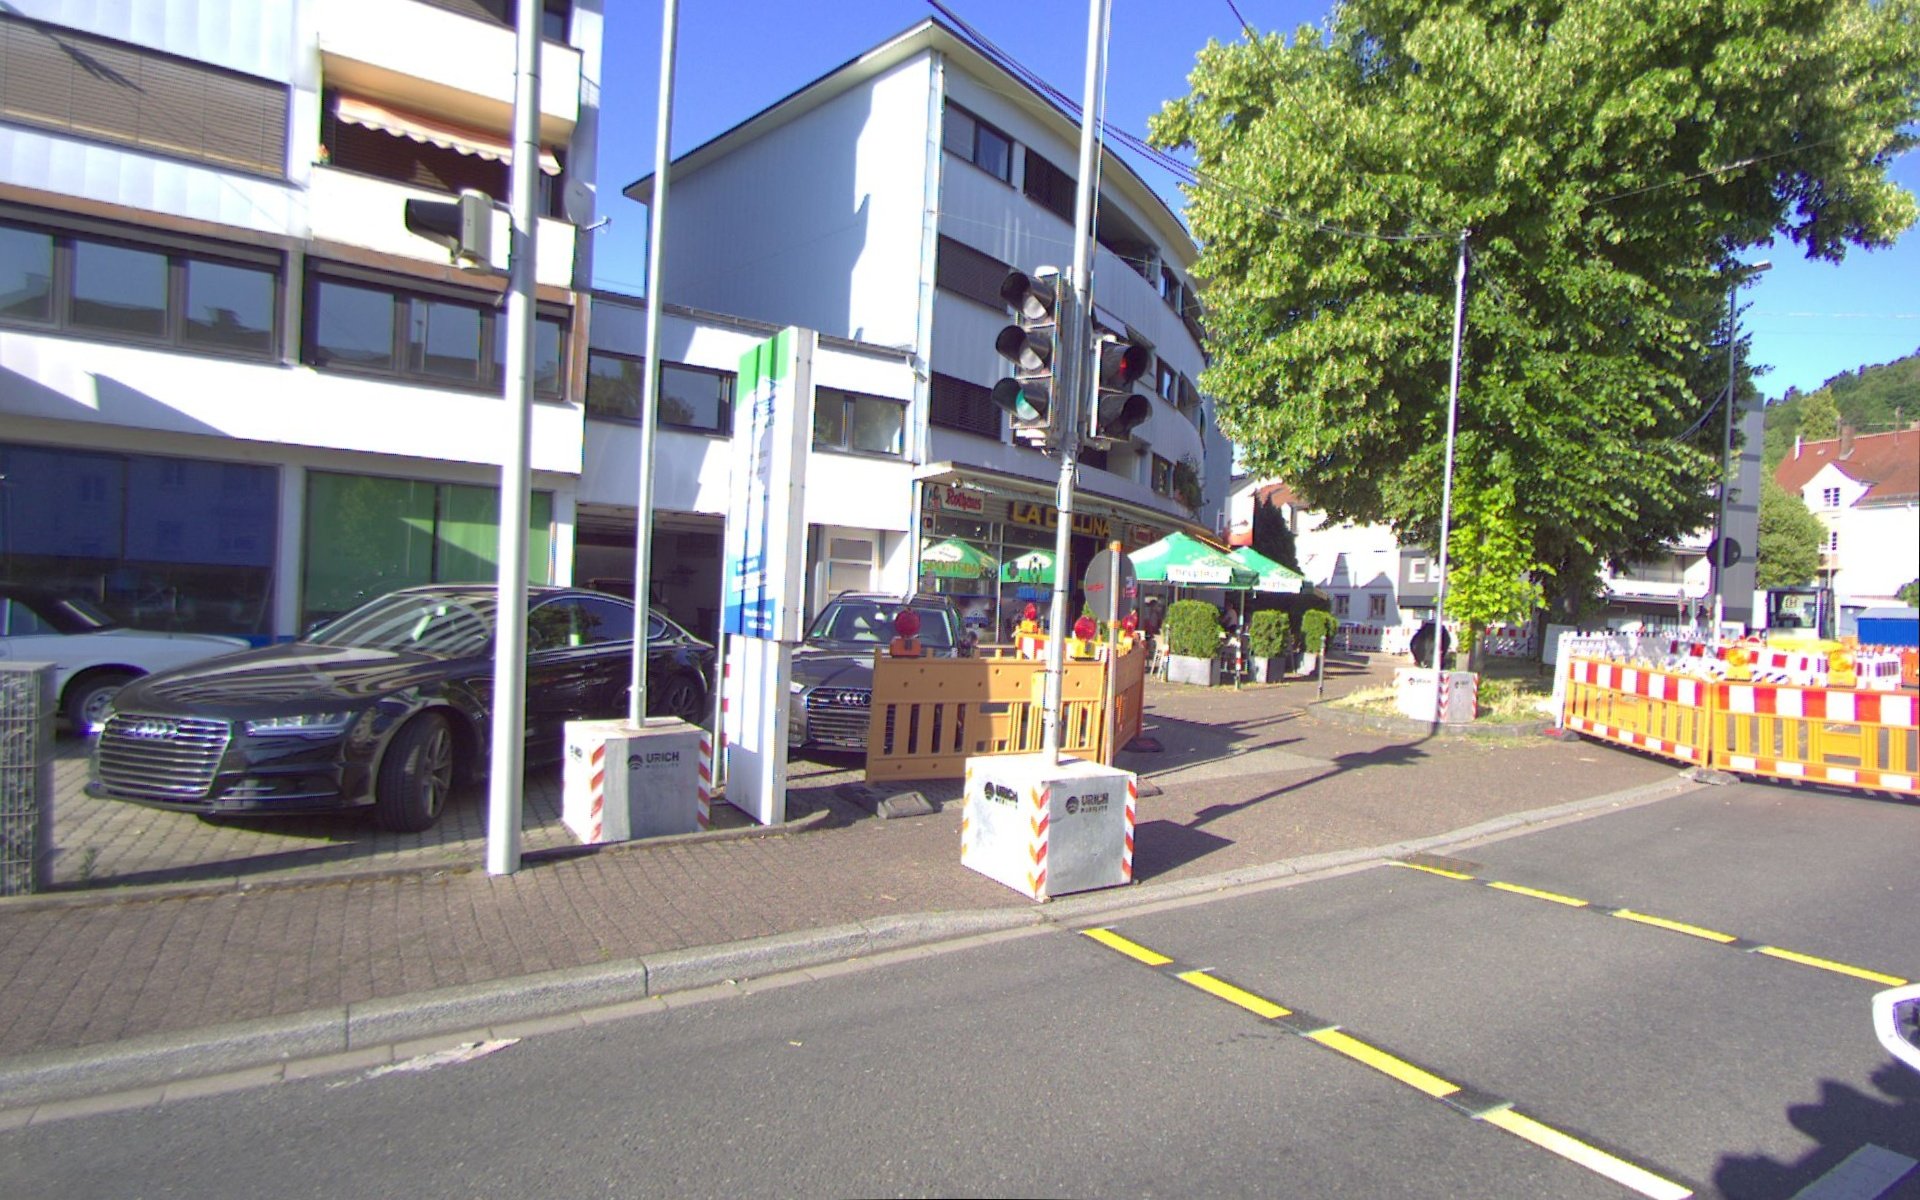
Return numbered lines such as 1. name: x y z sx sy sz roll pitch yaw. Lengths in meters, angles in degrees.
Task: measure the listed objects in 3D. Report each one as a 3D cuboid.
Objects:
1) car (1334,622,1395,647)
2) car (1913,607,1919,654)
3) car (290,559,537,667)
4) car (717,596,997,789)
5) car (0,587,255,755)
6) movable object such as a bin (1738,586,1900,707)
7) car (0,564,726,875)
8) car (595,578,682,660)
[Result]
1. car: 26.388 2.261 65.525 3.352 1.430 1.510 2 0 -9
2. car: 46.709 1.489 45.112 6.042 2.149 2.587 2 -1 -11
3. car: -9.471 0.270 17.551 3.592 1.695 1.708 3 -1 -32
4. car: -0.761 0.761 9.810 1.564 1.457 3.887 1 -1 12
5. car: -8.243 0.545 8.294 3.863 1.315 1.511 2 -1 -33
6. movable object such as a bin: 18.276 0.961 21.334 3.881 2.355 1.636 2 0 -34
7. car: -3.614 0.619 7.275 1.893 1.457 4.692 1 -1 12
8. car: -7.168 0.371 22.173 1.549 1.629 3.736 2 0 -21
